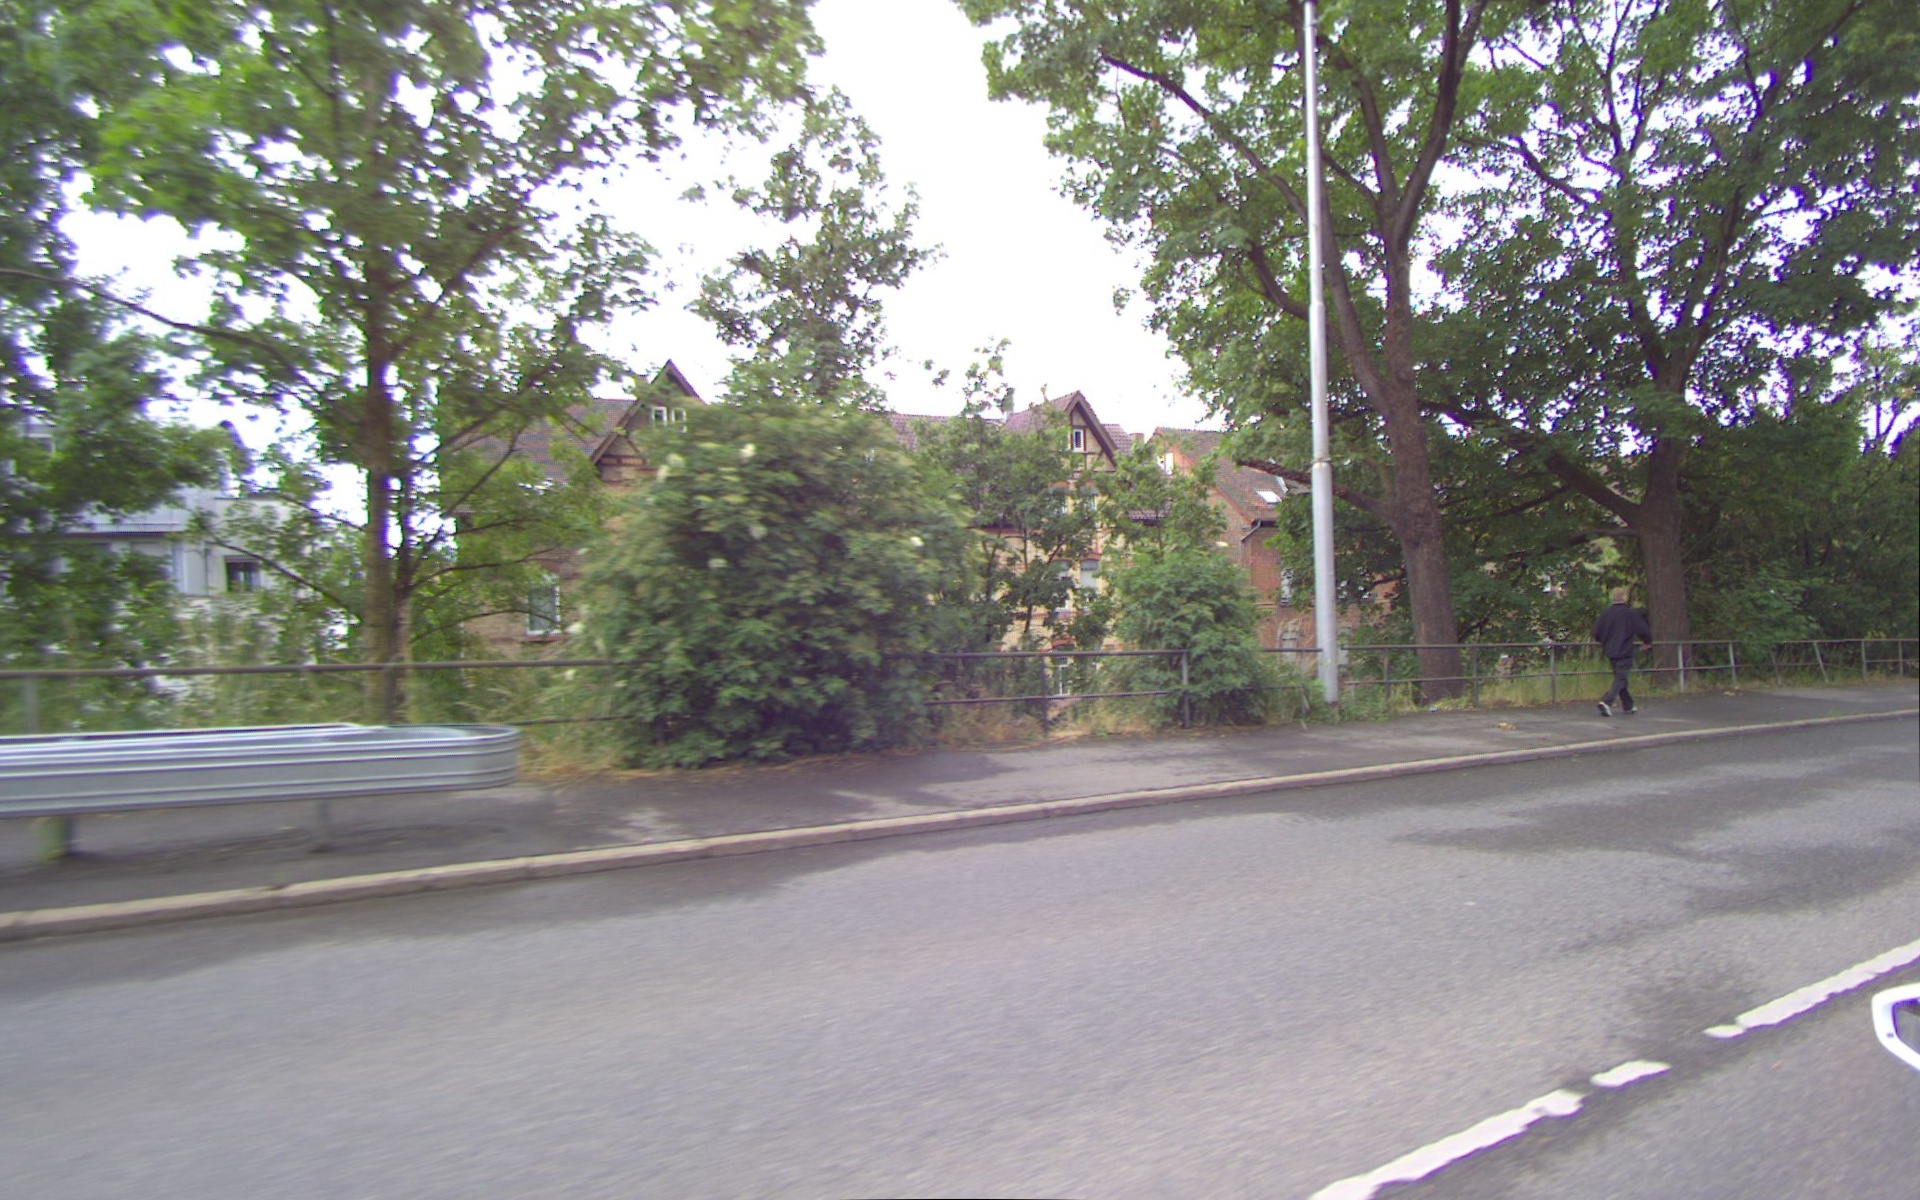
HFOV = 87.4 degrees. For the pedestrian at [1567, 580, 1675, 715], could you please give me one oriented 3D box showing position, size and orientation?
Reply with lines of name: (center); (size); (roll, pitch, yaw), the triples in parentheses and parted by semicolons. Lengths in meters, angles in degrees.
pedestrian: (9.337, 0.636, 14.188); (1.196, 1.798, 0.784); (0, 3, -33)
